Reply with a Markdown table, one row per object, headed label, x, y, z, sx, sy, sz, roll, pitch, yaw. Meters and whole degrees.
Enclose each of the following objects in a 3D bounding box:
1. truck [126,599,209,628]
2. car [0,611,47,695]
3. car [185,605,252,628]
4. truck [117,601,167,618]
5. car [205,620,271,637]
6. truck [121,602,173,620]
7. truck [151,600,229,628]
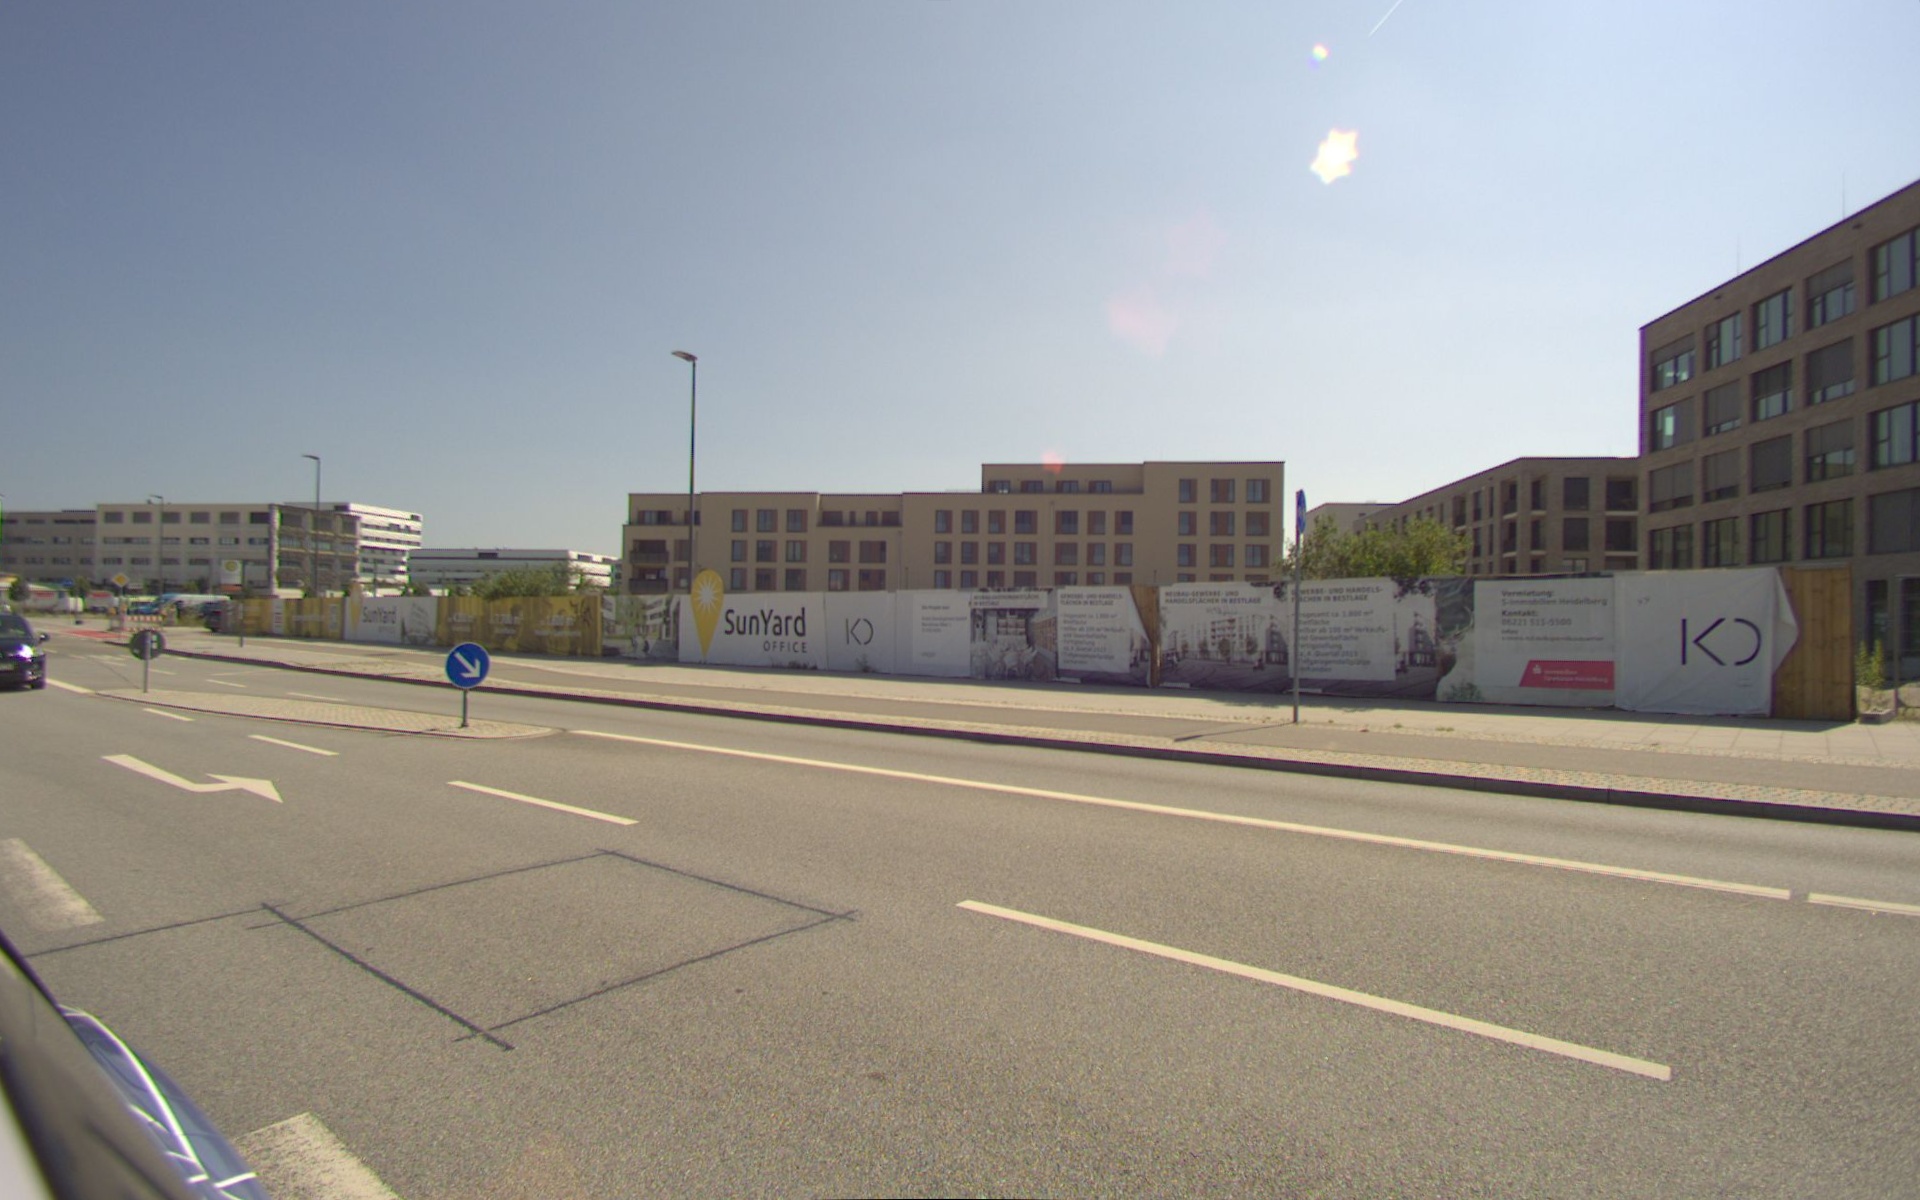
| label | x | y | z | sx | sy | sz | roll | pitch | yaw |
| --- | --- | --- | --- | --- | --- | --- | --- | --- | --- |
| truck | -71.017 | 1.163 | 90.811 | 1.996 | 2.494 | 5.567 | -1 | 0 | 36 |
| car | -20.515 | 1.073 | 21.038 | 3.914 | 1.634 | 1.785 | -1 | 1 | 41 |
| car | -58.489 | 1.261 | 79.826 | 1.888 | 1.731 | 3.884 | -1 | 0 | 35 |
| truck | -118.290 | 1.359 | 146.454 | 1.998 | 2.494 | 5.346 | -1 | 0 | 39 |
| car | -46.423 | 1.816 | 65.105 | 1.293 | 0.960 | 3.315 | -1 | 0 | 43 |
| truck | -112.964 | 1.512 | 140.629 | 1.996 | 2.494 | 5.270 | -1 | 0 | 36 |
| truck | -65.403 | 1.148 | 86.012 | 1.998 | 2.245 | 4.942 | -1 | 0 | 39 |
